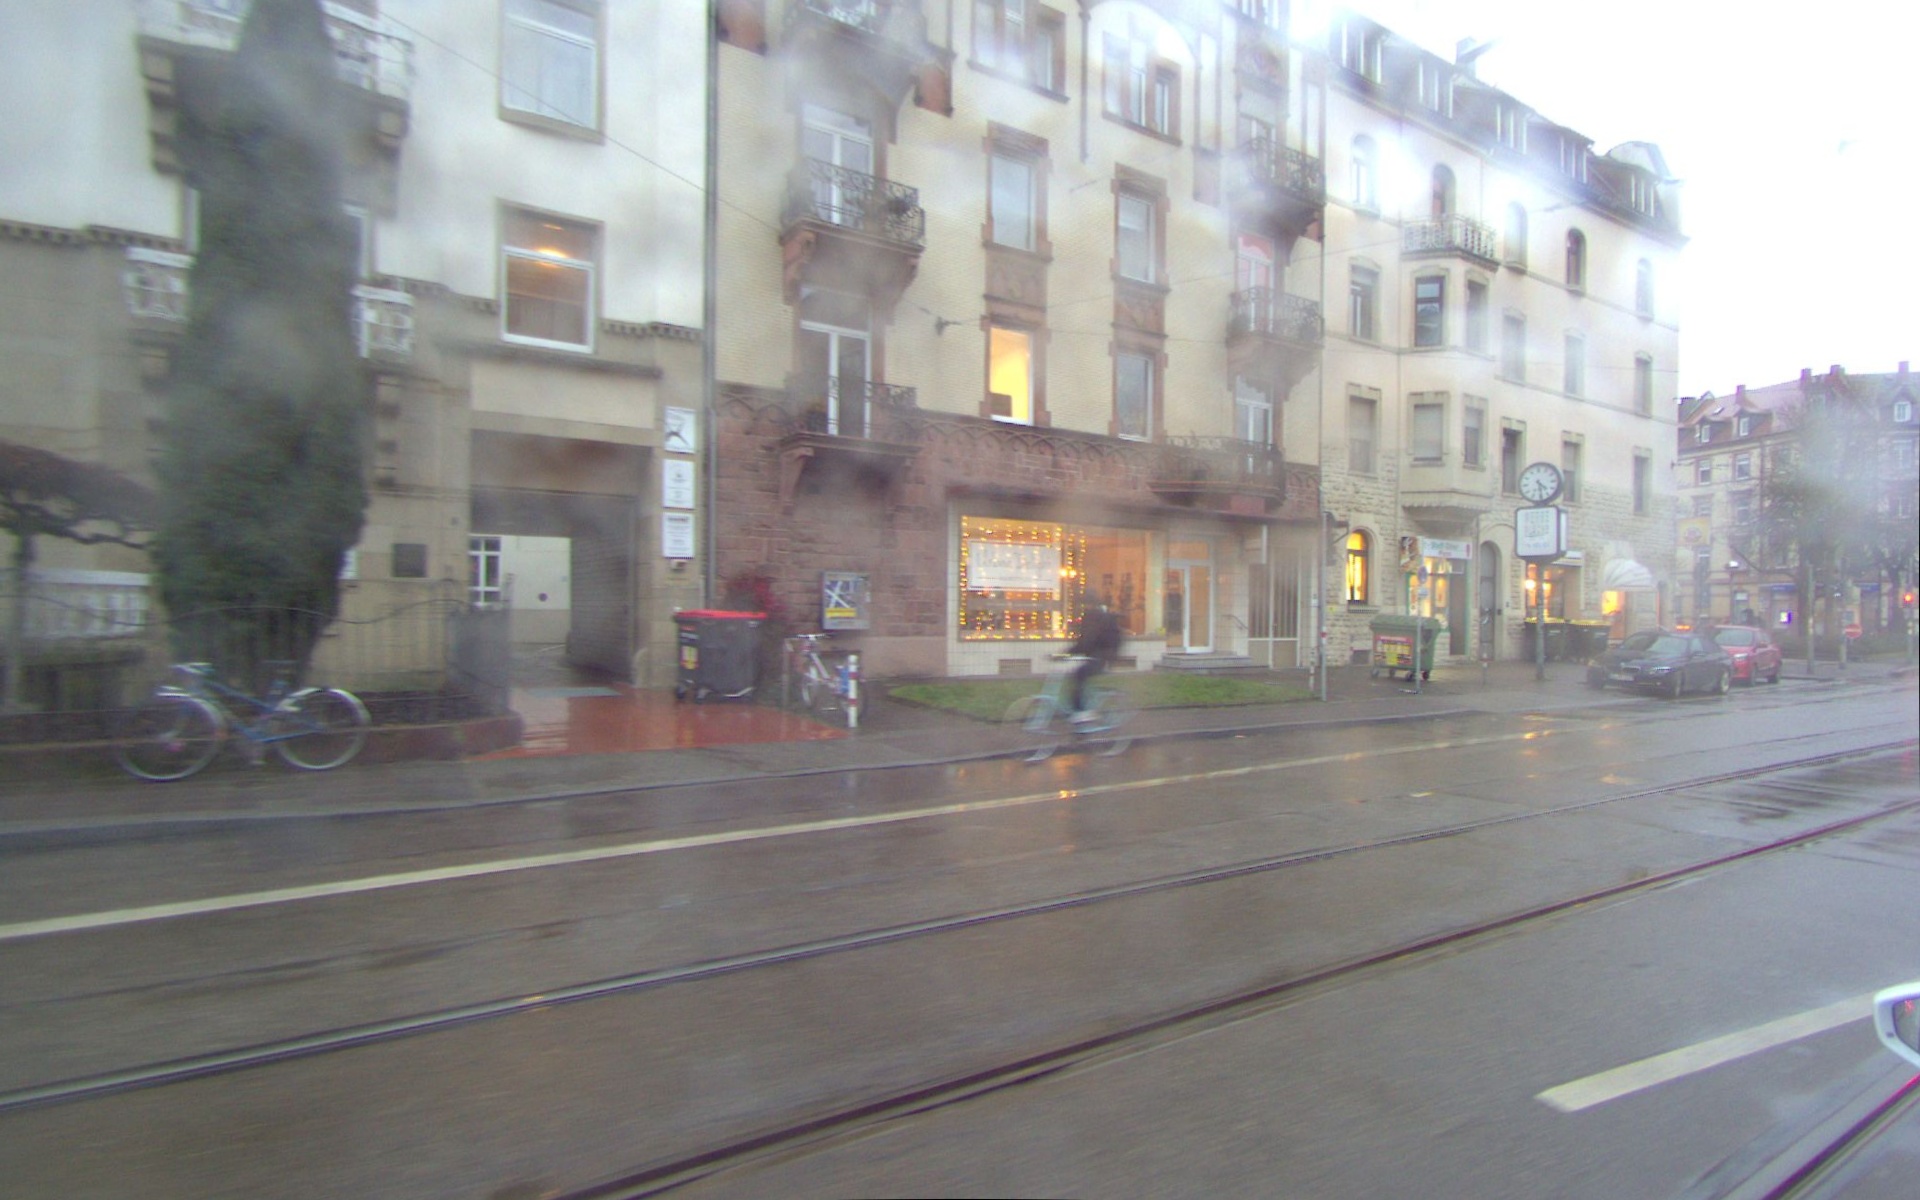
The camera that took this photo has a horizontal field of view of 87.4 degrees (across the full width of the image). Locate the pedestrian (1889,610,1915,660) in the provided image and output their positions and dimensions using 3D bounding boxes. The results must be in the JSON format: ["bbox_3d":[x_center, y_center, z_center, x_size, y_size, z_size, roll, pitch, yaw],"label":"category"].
[{"bbox_3d":[38.682,1.423,41.241,0.696,2.040,0.658,0,0,38],"label":"pedestrian"}]

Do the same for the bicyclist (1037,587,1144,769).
[{"bbox_3d":[1.430,0.819,11.000,0.980,1.901,0.620,1,0,-31],"label":"bicyclist"}]

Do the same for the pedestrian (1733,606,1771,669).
[{"bbox_3d":[26.373,1.233,33.470,0.635,2.040,0.758,1,0,4],"label":"pedestrian"}]

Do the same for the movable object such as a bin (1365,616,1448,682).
[{"bbox_3d":[10.255,1.102,23.088,1.236,1.439,1.260,1,0,-32],"label":"movable object such as a bin"}]

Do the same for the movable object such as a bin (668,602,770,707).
[{"bbox_3d":[-3.532,0.765,14.691,1.154,1.398,1.096,1,2,-31],"label":"movable object such as a bin"}]

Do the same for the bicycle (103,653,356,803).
[{"bbox_3d":[-6.038,1.019,8.425,1.643,1.107,0.620,1,0,-31],"label":"bicycle"}]

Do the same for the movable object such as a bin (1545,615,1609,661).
[{"bbox_3d":[19.182,1.165,31.228,1.238,1.385,1.286,1,0,-32],"label":"movable object such as a bin"}]

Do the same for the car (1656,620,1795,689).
[{"bbox_3d":[21.226,1.441,27.812,3.995,1.573,2.022,0,3,-38],"label":"car"}]

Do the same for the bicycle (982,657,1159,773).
[{"bbox_3d":[1.221,1.198,10.872,1.925,1.107,0.620,1,-1,-31],"label":"bicycle"}]

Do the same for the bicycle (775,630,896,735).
[{"bbox_3d":[-1.688,1.024,13.214,0.687,1.120,2.337,1,2,-31],"label":"bicycle"}]

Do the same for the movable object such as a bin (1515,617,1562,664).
[{"bbox_3d":[17.852,1.242,30.997,0.995,1.396,0.894,1,0,-32],"label":"movable object such as a bin"}]

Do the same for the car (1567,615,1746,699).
[{"bbox_3d":[16.665,1.320,23.981,4.585,1.667,1.972,2,4,-35],"label":"car"}]
